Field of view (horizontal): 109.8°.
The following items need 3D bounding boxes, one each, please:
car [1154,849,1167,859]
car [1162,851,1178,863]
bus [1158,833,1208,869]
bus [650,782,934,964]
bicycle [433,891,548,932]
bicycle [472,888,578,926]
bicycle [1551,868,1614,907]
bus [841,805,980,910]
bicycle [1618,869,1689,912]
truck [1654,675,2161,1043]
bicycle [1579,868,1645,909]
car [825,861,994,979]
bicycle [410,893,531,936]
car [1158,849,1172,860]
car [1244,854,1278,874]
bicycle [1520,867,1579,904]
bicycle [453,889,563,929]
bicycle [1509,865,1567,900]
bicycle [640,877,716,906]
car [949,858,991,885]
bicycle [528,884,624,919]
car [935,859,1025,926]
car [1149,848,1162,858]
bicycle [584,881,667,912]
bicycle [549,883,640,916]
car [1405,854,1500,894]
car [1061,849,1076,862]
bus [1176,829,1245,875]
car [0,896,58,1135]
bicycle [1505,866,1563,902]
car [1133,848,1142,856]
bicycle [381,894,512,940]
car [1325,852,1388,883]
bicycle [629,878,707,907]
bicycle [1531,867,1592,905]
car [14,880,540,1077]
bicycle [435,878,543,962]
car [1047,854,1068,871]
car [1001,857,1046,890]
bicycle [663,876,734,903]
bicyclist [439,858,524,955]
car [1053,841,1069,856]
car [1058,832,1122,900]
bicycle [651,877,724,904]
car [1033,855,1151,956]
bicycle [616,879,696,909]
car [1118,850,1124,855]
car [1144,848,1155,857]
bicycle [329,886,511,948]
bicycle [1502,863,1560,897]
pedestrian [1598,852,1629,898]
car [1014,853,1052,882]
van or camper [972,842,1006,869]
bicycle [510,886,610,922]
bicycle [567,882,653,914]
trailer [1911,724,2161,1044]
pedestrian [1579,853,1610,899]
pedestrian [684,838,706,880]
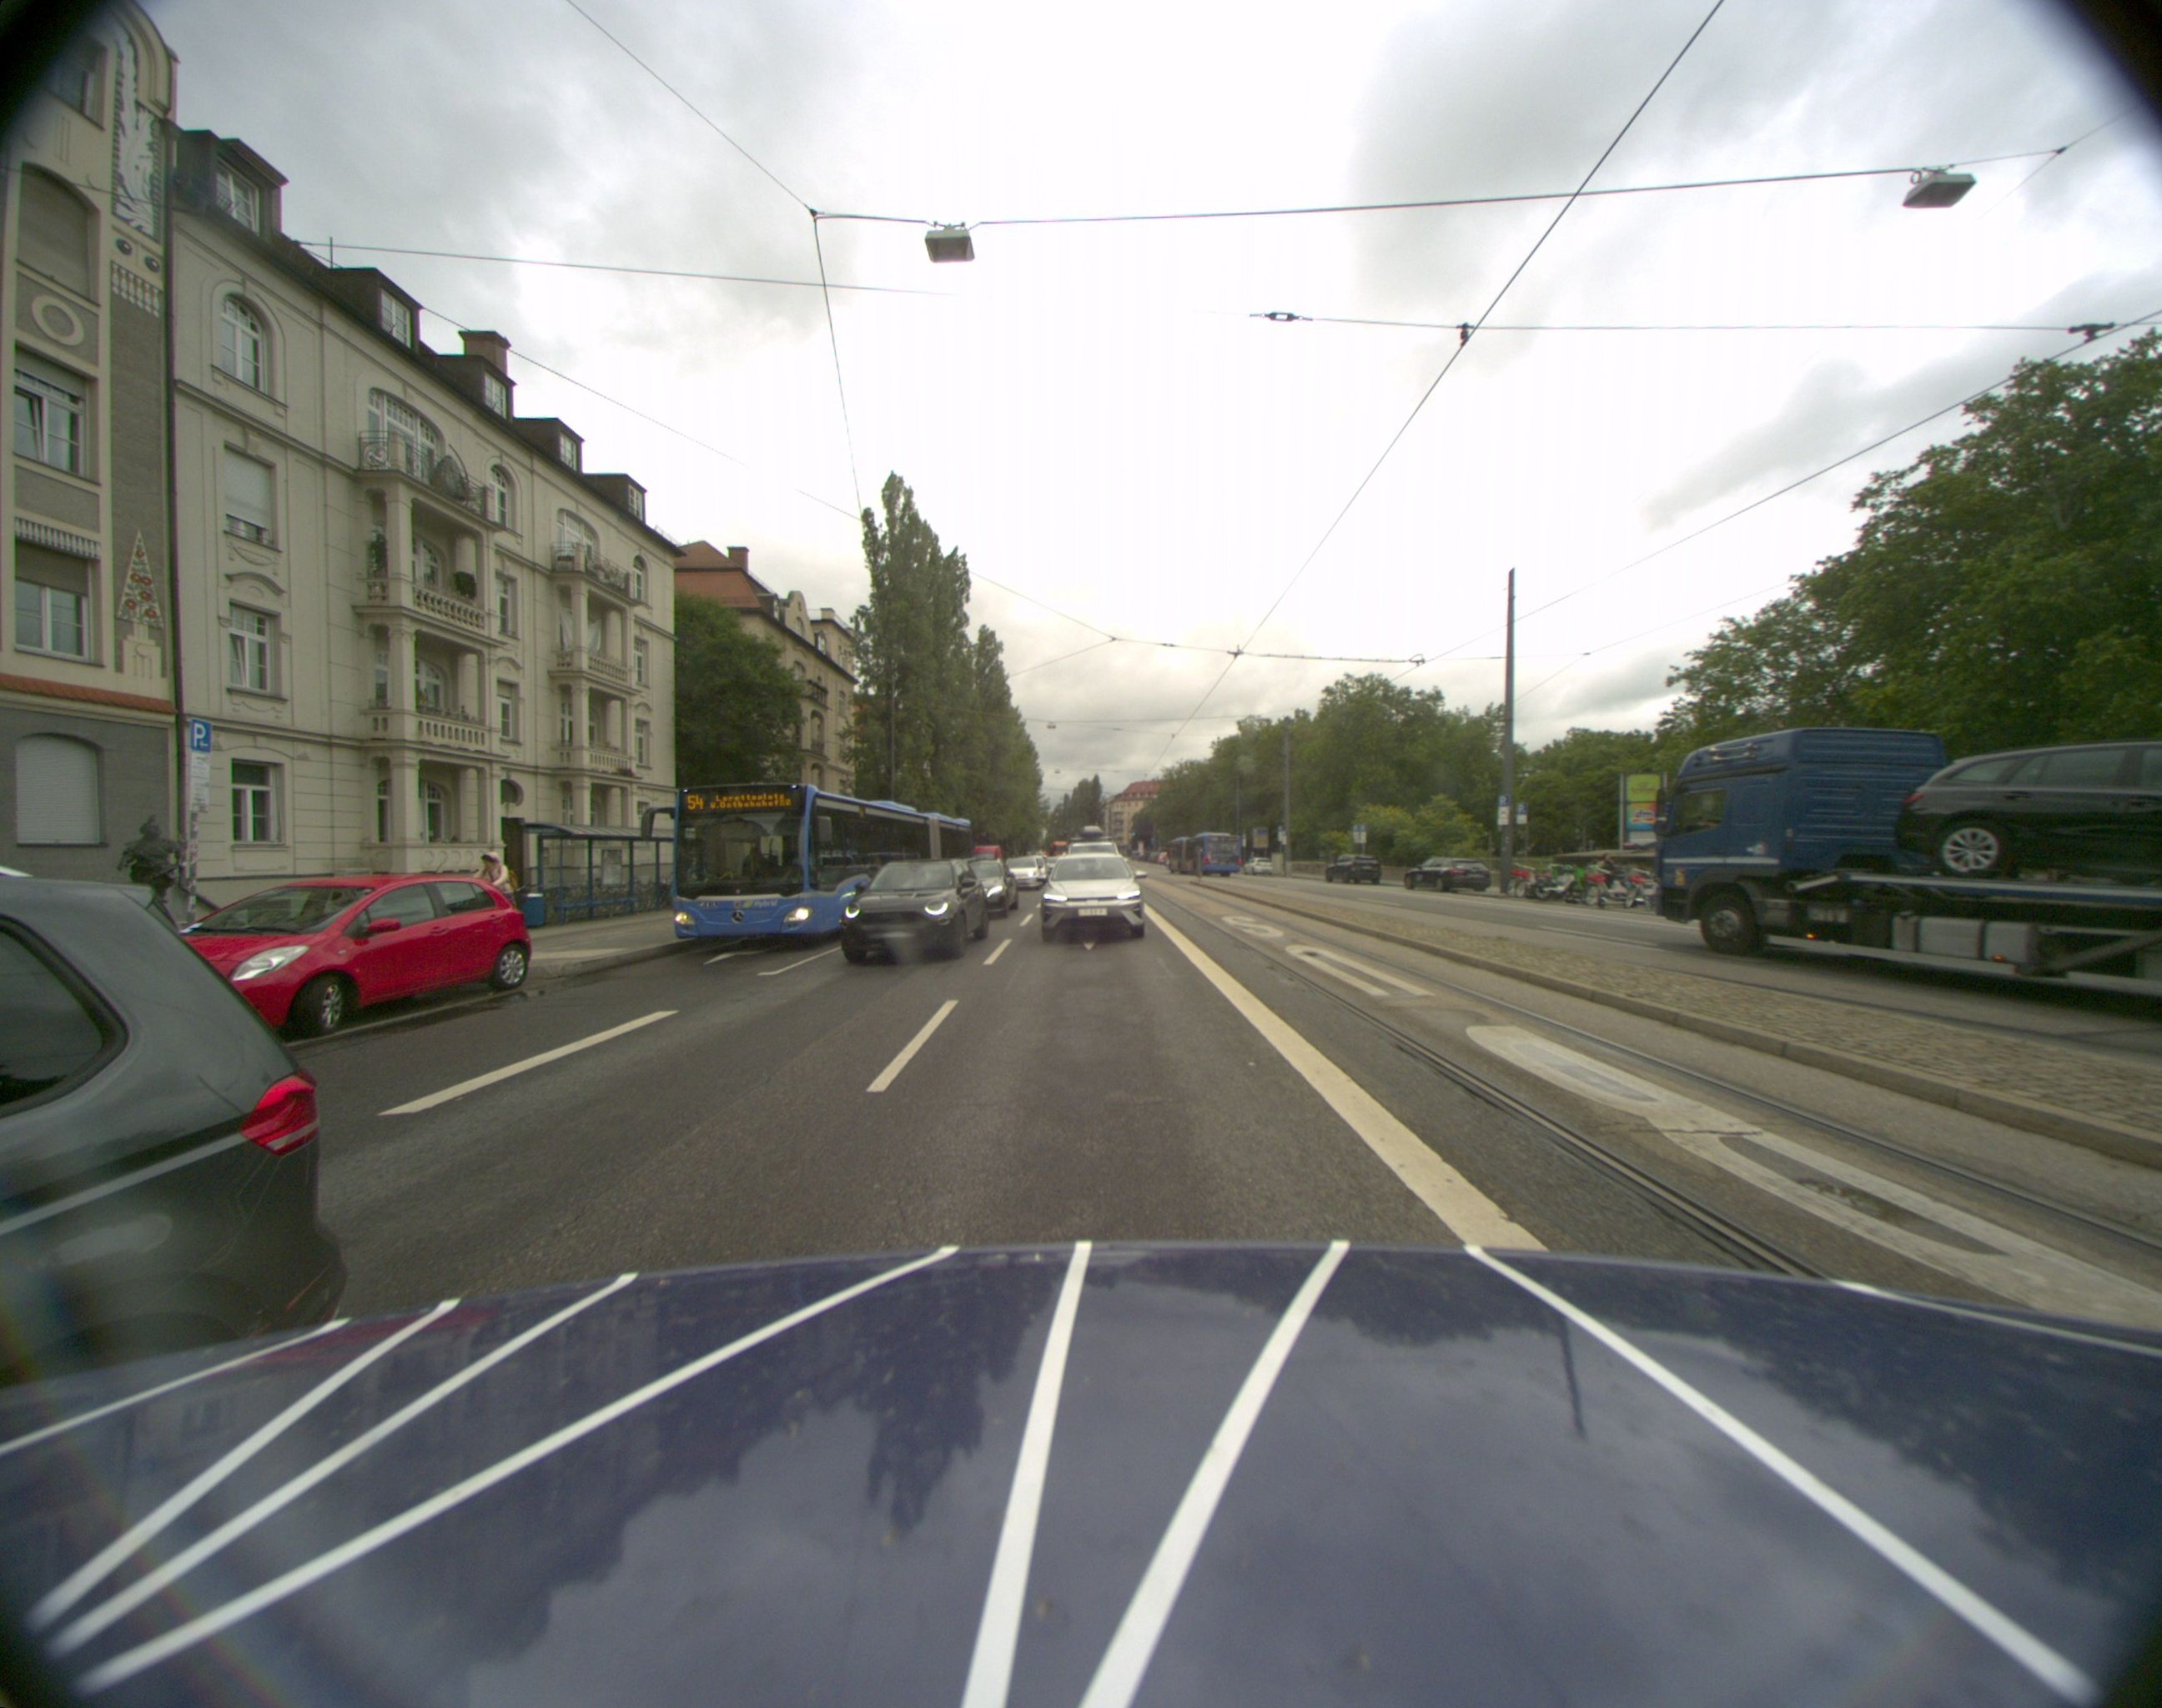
[{"bbox_3d":[13.293,-0.049,127.575,1.809,1.674,4.000,0,1,0],"label":"car"},{"bbox_3d":[12.785,0.460,109.511,1.809,1.674,4.000,0,1,0],"label":"car"},{"bbox_3d":[9.222,-0.316,70.072,2.632,2.950,12.843,1,0,-1],"label":"bus"},{"bbox_3d":[-5.748,0.284,17.420,2.637,2.957,9.465,-2,0,1],"label":"bus"},{"bbox_3d":[-14.842,1.441,19.138,2.323,0.916,0.640,-2,1,-2],"label":"bicycle"},{"bbox_3d":[-15.131,1.436,20.708,2.323,0.916,0.640,-2,1,-2],"label":"bicycle"},{"bbox_3d":[15.331,1.019,23.239,1.693,1.165,0.505,0,1,-9],"label":"bicycle"},{"bbox_3d":[-5.536,0.066,26.409,2.637,2.957,8.533,-2,1,1],"label":"bus"},{"bbox_3d":[16.001,1.013,21.247,1.693,1.165,0.561,0,1,-9],"label":"bicycle"},{"bbox_3d":[10.277,0.052,7.938,2.572,3.070,7.689,2,1,-1],"label":"truck"},{"bbox_3d":[15.654,1.014,22.414,1.693,1.165,0.561,0,1,-9],"label":"bicycle"},{"bbox_3d":[-2.617,0.934,12.570,1.780,1.495,3.970,-3,1,0],"label":"car"},{"bbox_3d":[-14.783,1.446,18.429,2.323,0.916,0.640,-2,1,-2],"label":"bicycle"},{"bbox_3d":[13.286,0.129,119.894,1.809,1.674,4.000,0,1,0],"label":"car"},{"bbox_3d":[14.816,0.816,62.786,1.893,1.521,4.000,0,1,1],"label":"car"},{"bbox_3d":[15.253,1.005,24.756,1.693,1.165,0.505,0,1,-7],"label":"bicycle"},{"bbox_3d":[-15.035,1.440,19.988,2.323,0.916,0.640,-2,1,-2],"label":"bicycle"},{"bbox_3d":[15.648,0.976,26.031,1.693,1.165,0.505,0,1,-3],"label":"bicycle"},{"bbox_3d":[-14.458,1.343,27.292,2.323,0.916,0.600,-2,1,-2],"label":"bicycle"},{"bbox_3d":[-5.878,0.899,40.522,1.704,1.360,3.632,1,0,0],"label":"car"},{"bbox_3d":[-14.929,1.408,22.502,2.323,0.916,0.640,-2,1,-2],"label":"bicycle"},{"bbox_3d":[-2.537,0.913,19.978,1.704,1.425,4.244,-3,1,0],"label":"car"},{"bbox_3d":[13.237,-0.173,134.944,1.809,1.674,4.000,0,1,0],"label":"car"},{"bbox_3d":[-14.916,1.382,24.914,2.323,0.916,0.600,-2,1,-2],"label":"bicycle"},{"bbox_3d":[-14.940,1.400,23.354,2.323,0.916,0.600,-2,1,-2],"label":"bicycle"},{"bbox_3d":[15.312,0.769,31.583,1.864,1.517,4.232,0,1,0],"label":"car"},{"bbox_3d":[-1.528,0.159,94.277,1.704,1.513,3.632,0,1,0],"label":"car"},{"bbox_3d":[9.415,-0.182,56.956,2.632,2.950,13.413,1,0,-1],"label":"bus"},{"bbox_3d":[-8.090,1.090,3.344,1.730,1.567,3.967,0,1,2],"label":"car"},{"bbox_3d":[15.179,1.001,25.454,1.693,1.165,0.505,0,1,-6],"label":"bicycle"},{"bbox_3d":[12.221,-0.448,164.114,1.809,1.674,4.000,0,1,0],"label":"car"},{"bbox_3d":[-14.750,1.452,17.715,2.325,0.916,0.586,-2,1,-11],"label":"bicycle"},{"bbox_3d":[15.042,0.701,41.708,1.998,1.561,4.101,0,1,0],"label":"car"},{"bbox_3d":[-14.495,1.351,26.700,2.323,0.916,0.600,-2,1,-2],"label":"bicycle"},{"bbox_3d":[15.281,1.011,24.171,1.693,1.165,0.561,0,1,-9],"label":"bicycle"},{"bbox_3d":[-8.085,1.112,8.256,1.730,1.500,3.742,0,1,-1],"label":"car"},{"bbox_3d":[-10.229,1.105,13.216,0.424,1.281,1.778,0,1,2],"label":"bicycle"},{"bbox_3d":[-2.107,0.770,68.443,1.704,1.513,3.632,0,0,0],"label":"car"},{"bbox_3d":[-2.472,0.821,33.559,1.704,1.360,3.632,1,0,0],"label":"car"},{"bbox_3d":[-14.394,1.326,28.647,2.323,0.916,0.600,-2,1,-2],"label":"bicycle"},{"bbox_3d":[-10.271,0.879,13.053,0.681,1.594,0.939,0,1,1],"label":"bicyclist"},{"bbox_3d":[-3.685,-1.012,139.944,2.806,2.836,5.114,0,1,1],"label":"car"},{"bbox_3d":[0.291,0.348,25.665,1.998,2.100,3.999,0,1,0],"label":"car"},{"bbox_3d":[-14.438,1.335,27.911,2.323,0.916,0.600,-2,1,-2],"label":"bicycle"},{"bbox_3d":[0.232,0.803,14.316,1.812,1.496,4.952,-1,1,1],"label":"car"},{"bbox_3d":[-14.525,1.360,25.980,2.323,0.916,0.600,-2,1,-2],"label":"bicycle"},{"bbox_3d":[10.764,-0.393,205.661,1.628,1.474,3.602,0,1,1],"label":"car"},{"bbox_3d":[12.892,-0.251,143.519,1.809,1.674,4.000,0,1,0],"label":"car"},{"bbox_3d":[-14.159,1.331,16.380,2.923,1.142,0.639,-2,1,-17],"label":"bicycle"},{"bbox_3d":[15.746,0.897,26.611,1.692,1.165,0.562,0,1,-2],"label":"bicycle"},{"bbox_3d":[18.353,0.706,26.213,0.632,1.549,0.589,0,1,0],"label":"pedestrian"},{"bbox_3d":[-2.426,0.674,39.219,1.704,1.379,3.632,1,0,0],"label":"car"},{"bbox_3d":[-7.498,0.116,62.380,2.124,2.087,5.513,0,1,0],"label":"van or camper"},{"bbox_3d":[-14.818,1.413,21.628,2.323,0.916,0.640,-2,1,-2],"label":"bicycle"},{"bbox_3d":[-14.975,1.392,24.190,2.323,0.916,0.600,-2,1,-2],"label":"bicycle"},{"bbox_3d":[10.433,0.341,0.374,2.617,2.667,15.636,2,1,-1],"label":"trailer"},{"bbox_3d":[17.593,0.741,26.022,0.632,1.549,0.589,0,1,0],"label":"pedestrian"},{"bbox_3d":[-17.530,0.224,34.547,0.609,1.885,0.673,0,1,3],"label":"pedestrian"}]
